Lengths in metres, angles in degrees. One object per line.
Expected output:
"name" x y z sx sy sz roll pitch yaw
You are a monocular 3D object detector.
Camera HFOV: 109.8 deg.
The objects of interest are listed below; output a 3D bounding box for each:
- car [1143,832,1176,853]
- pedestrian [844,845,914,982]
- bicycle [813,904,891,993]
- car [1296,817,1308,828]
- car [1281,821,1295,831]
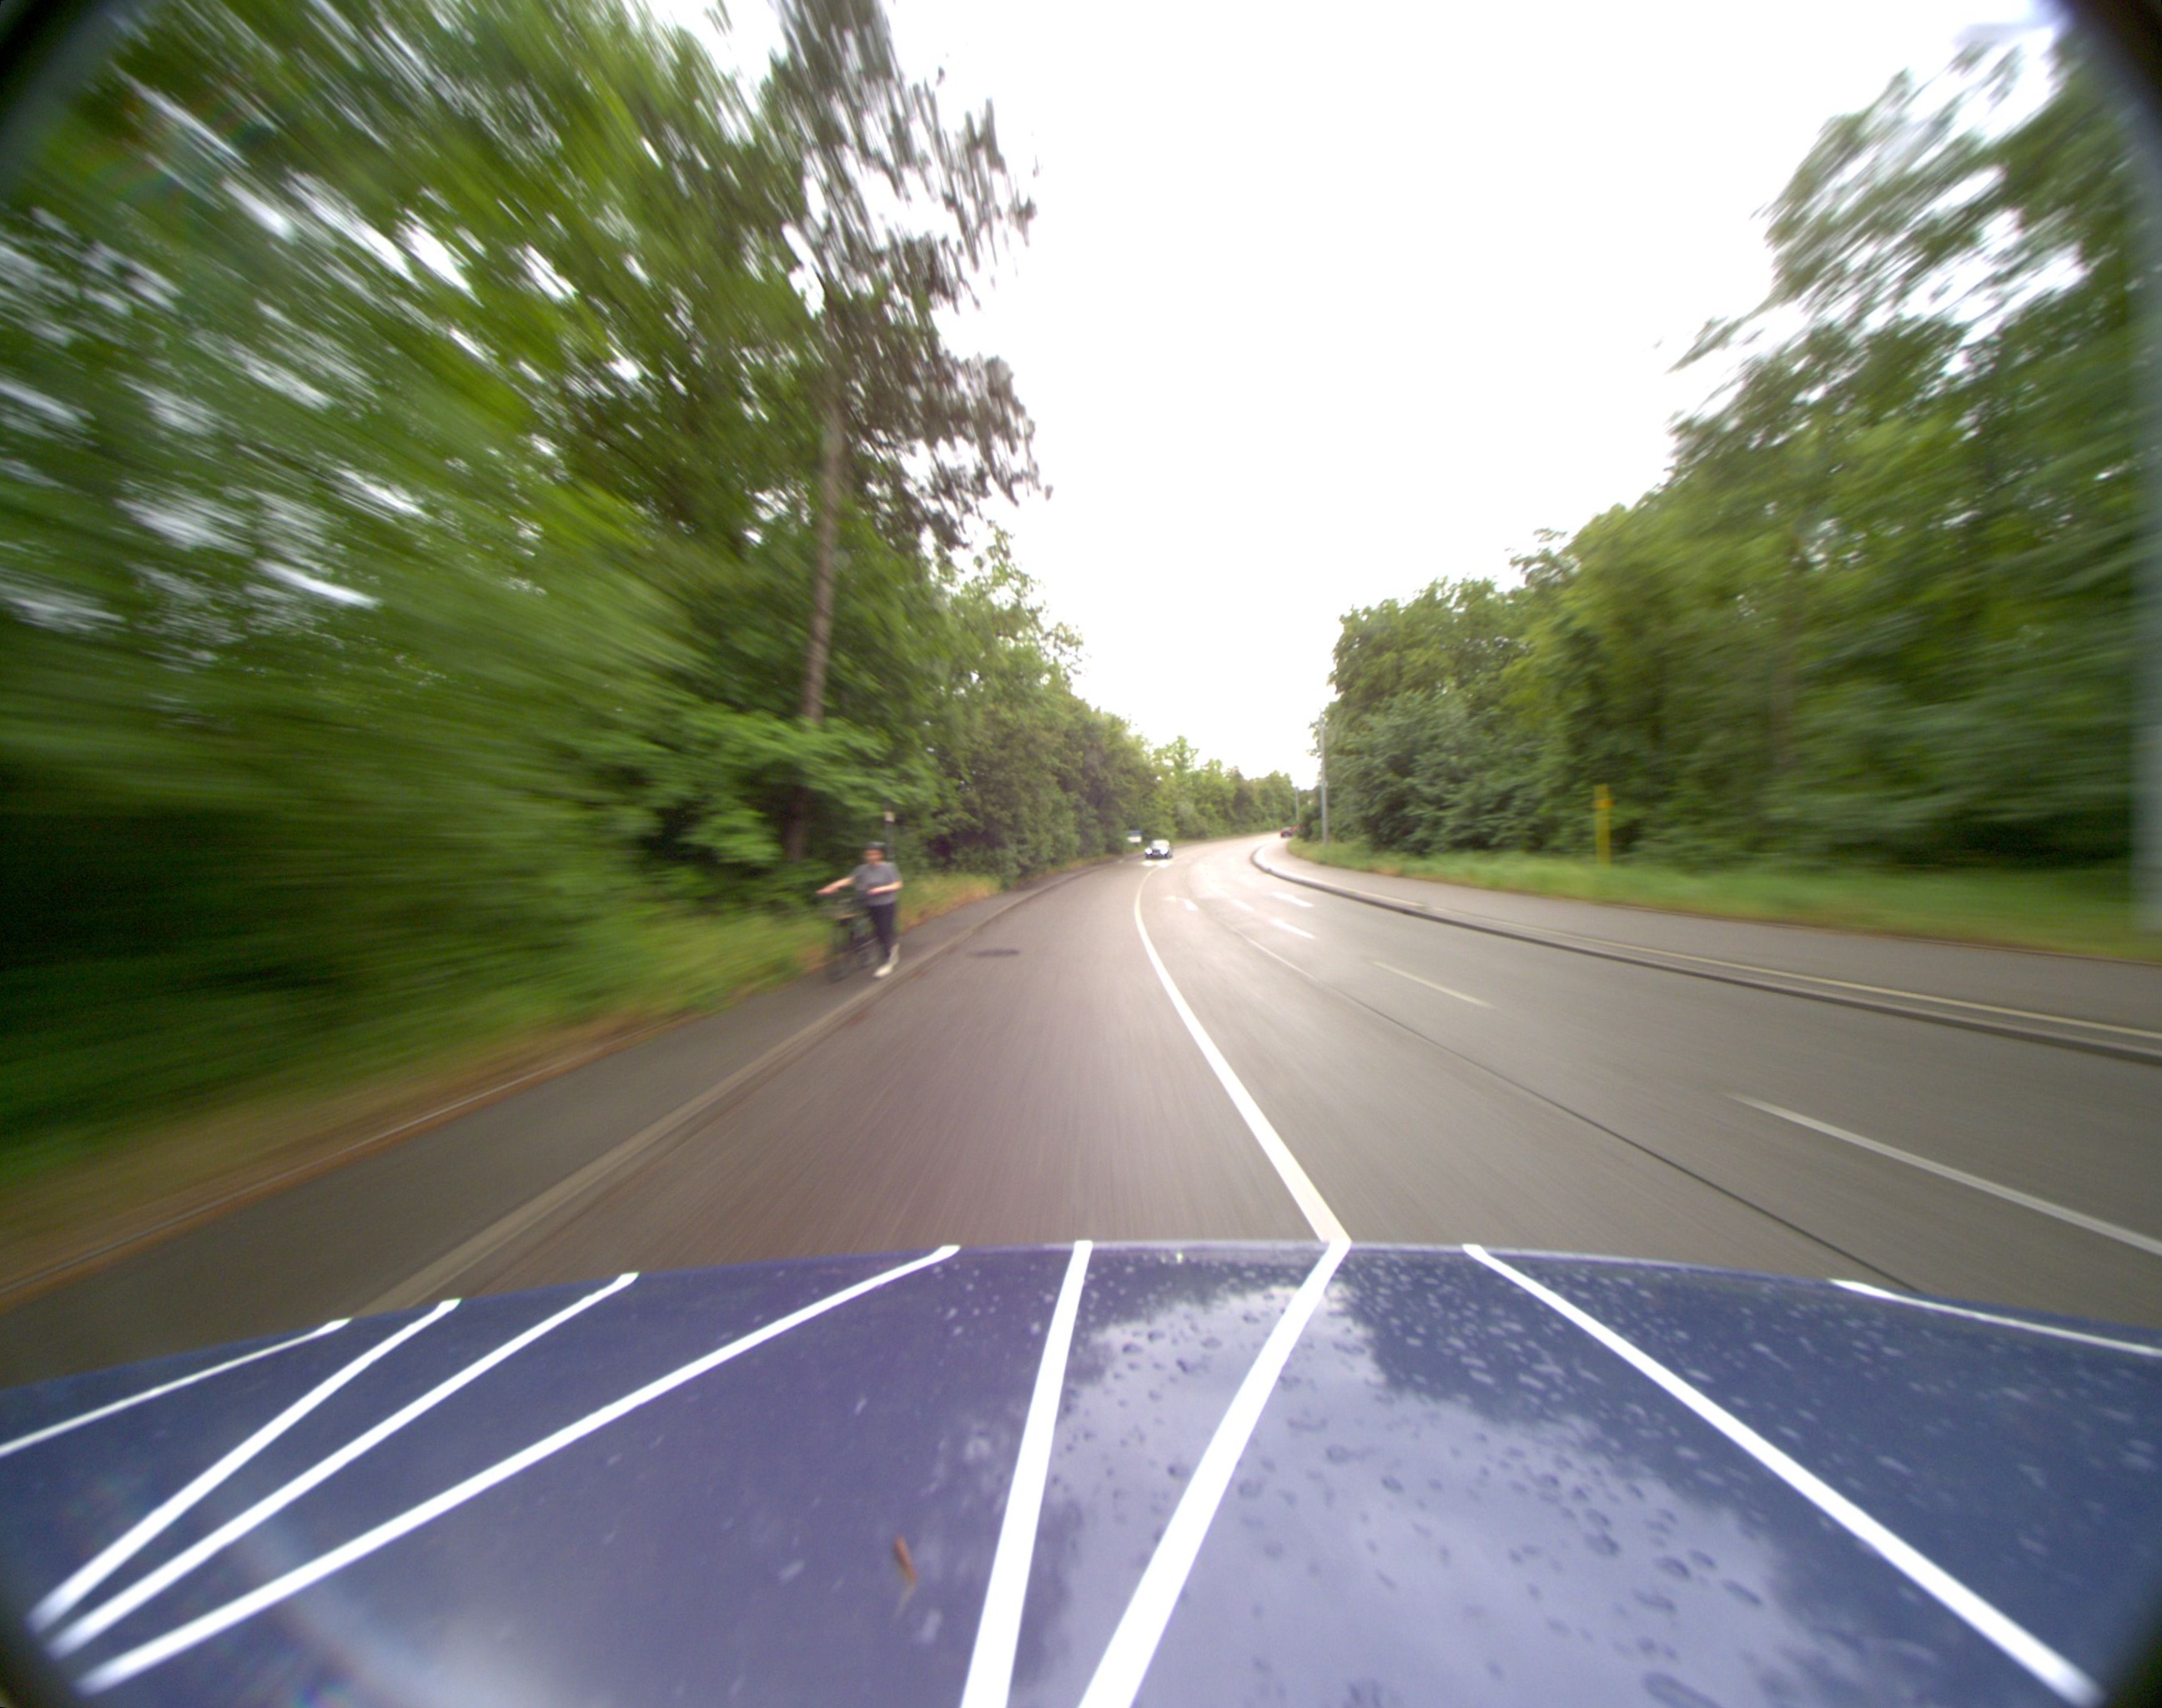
"car" 6.274 -0.942 60.272 1.829 1.512 4.004 3 2 17
"pedestrian" -2.438 0.697 9.227 0.565 1.569 0.769 -1 4 3
"bicycle" -2.775 1.110 9.342 0.356 0.844 1.743 1 1 2
"car" 38.062 -5.380 131.001 1.829 1.833 4.716 3 2 17
"car" 31.427 -4.265 115.347 1.829 1.432 4.004 0 1 17
